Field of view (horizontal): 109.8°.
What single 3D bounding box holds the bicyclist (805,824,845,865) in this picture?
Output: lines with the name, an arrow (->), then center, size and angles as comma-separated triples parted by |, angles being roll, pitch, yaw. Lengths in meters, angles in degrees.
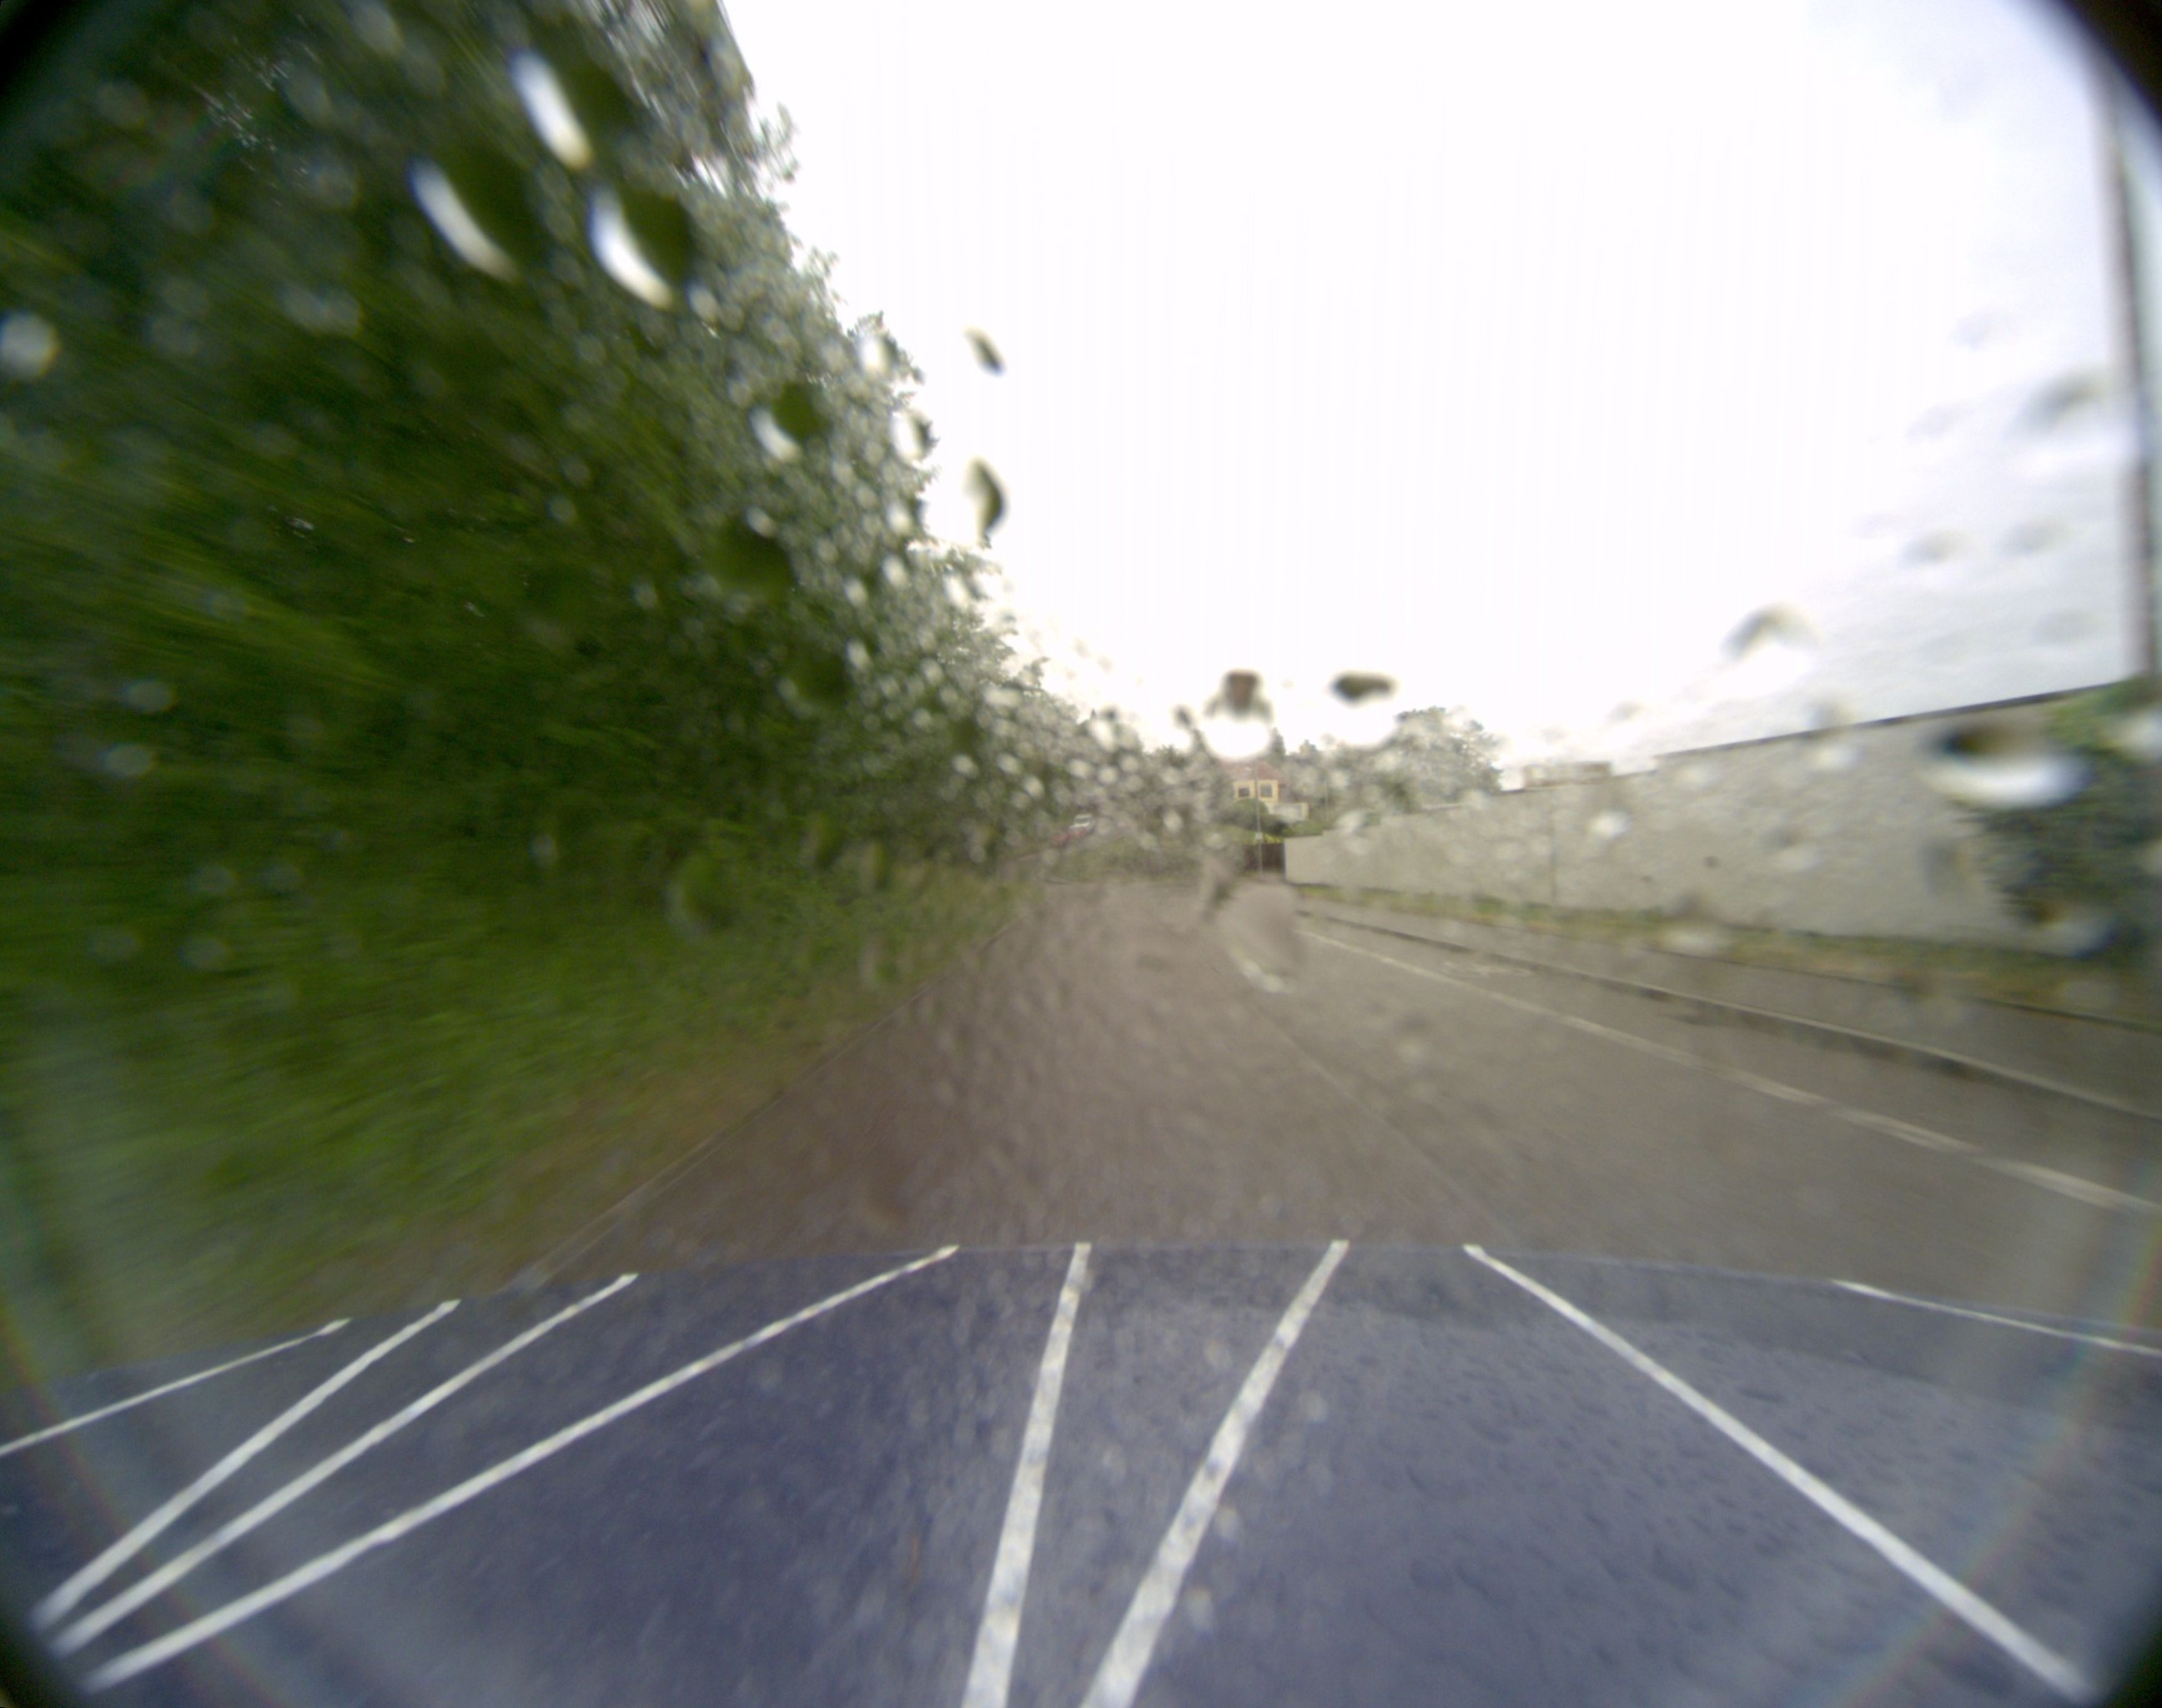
bicyclist -> -7.854, -0.293, 23.375 | 0.788, 1.220, 0.812 | -2, 0, 16

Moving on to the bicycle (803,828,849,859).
bicycle -> -7.807, -0.313, 23.351 | 0.435, 0.884, 1.699 | -2, 0, 16
